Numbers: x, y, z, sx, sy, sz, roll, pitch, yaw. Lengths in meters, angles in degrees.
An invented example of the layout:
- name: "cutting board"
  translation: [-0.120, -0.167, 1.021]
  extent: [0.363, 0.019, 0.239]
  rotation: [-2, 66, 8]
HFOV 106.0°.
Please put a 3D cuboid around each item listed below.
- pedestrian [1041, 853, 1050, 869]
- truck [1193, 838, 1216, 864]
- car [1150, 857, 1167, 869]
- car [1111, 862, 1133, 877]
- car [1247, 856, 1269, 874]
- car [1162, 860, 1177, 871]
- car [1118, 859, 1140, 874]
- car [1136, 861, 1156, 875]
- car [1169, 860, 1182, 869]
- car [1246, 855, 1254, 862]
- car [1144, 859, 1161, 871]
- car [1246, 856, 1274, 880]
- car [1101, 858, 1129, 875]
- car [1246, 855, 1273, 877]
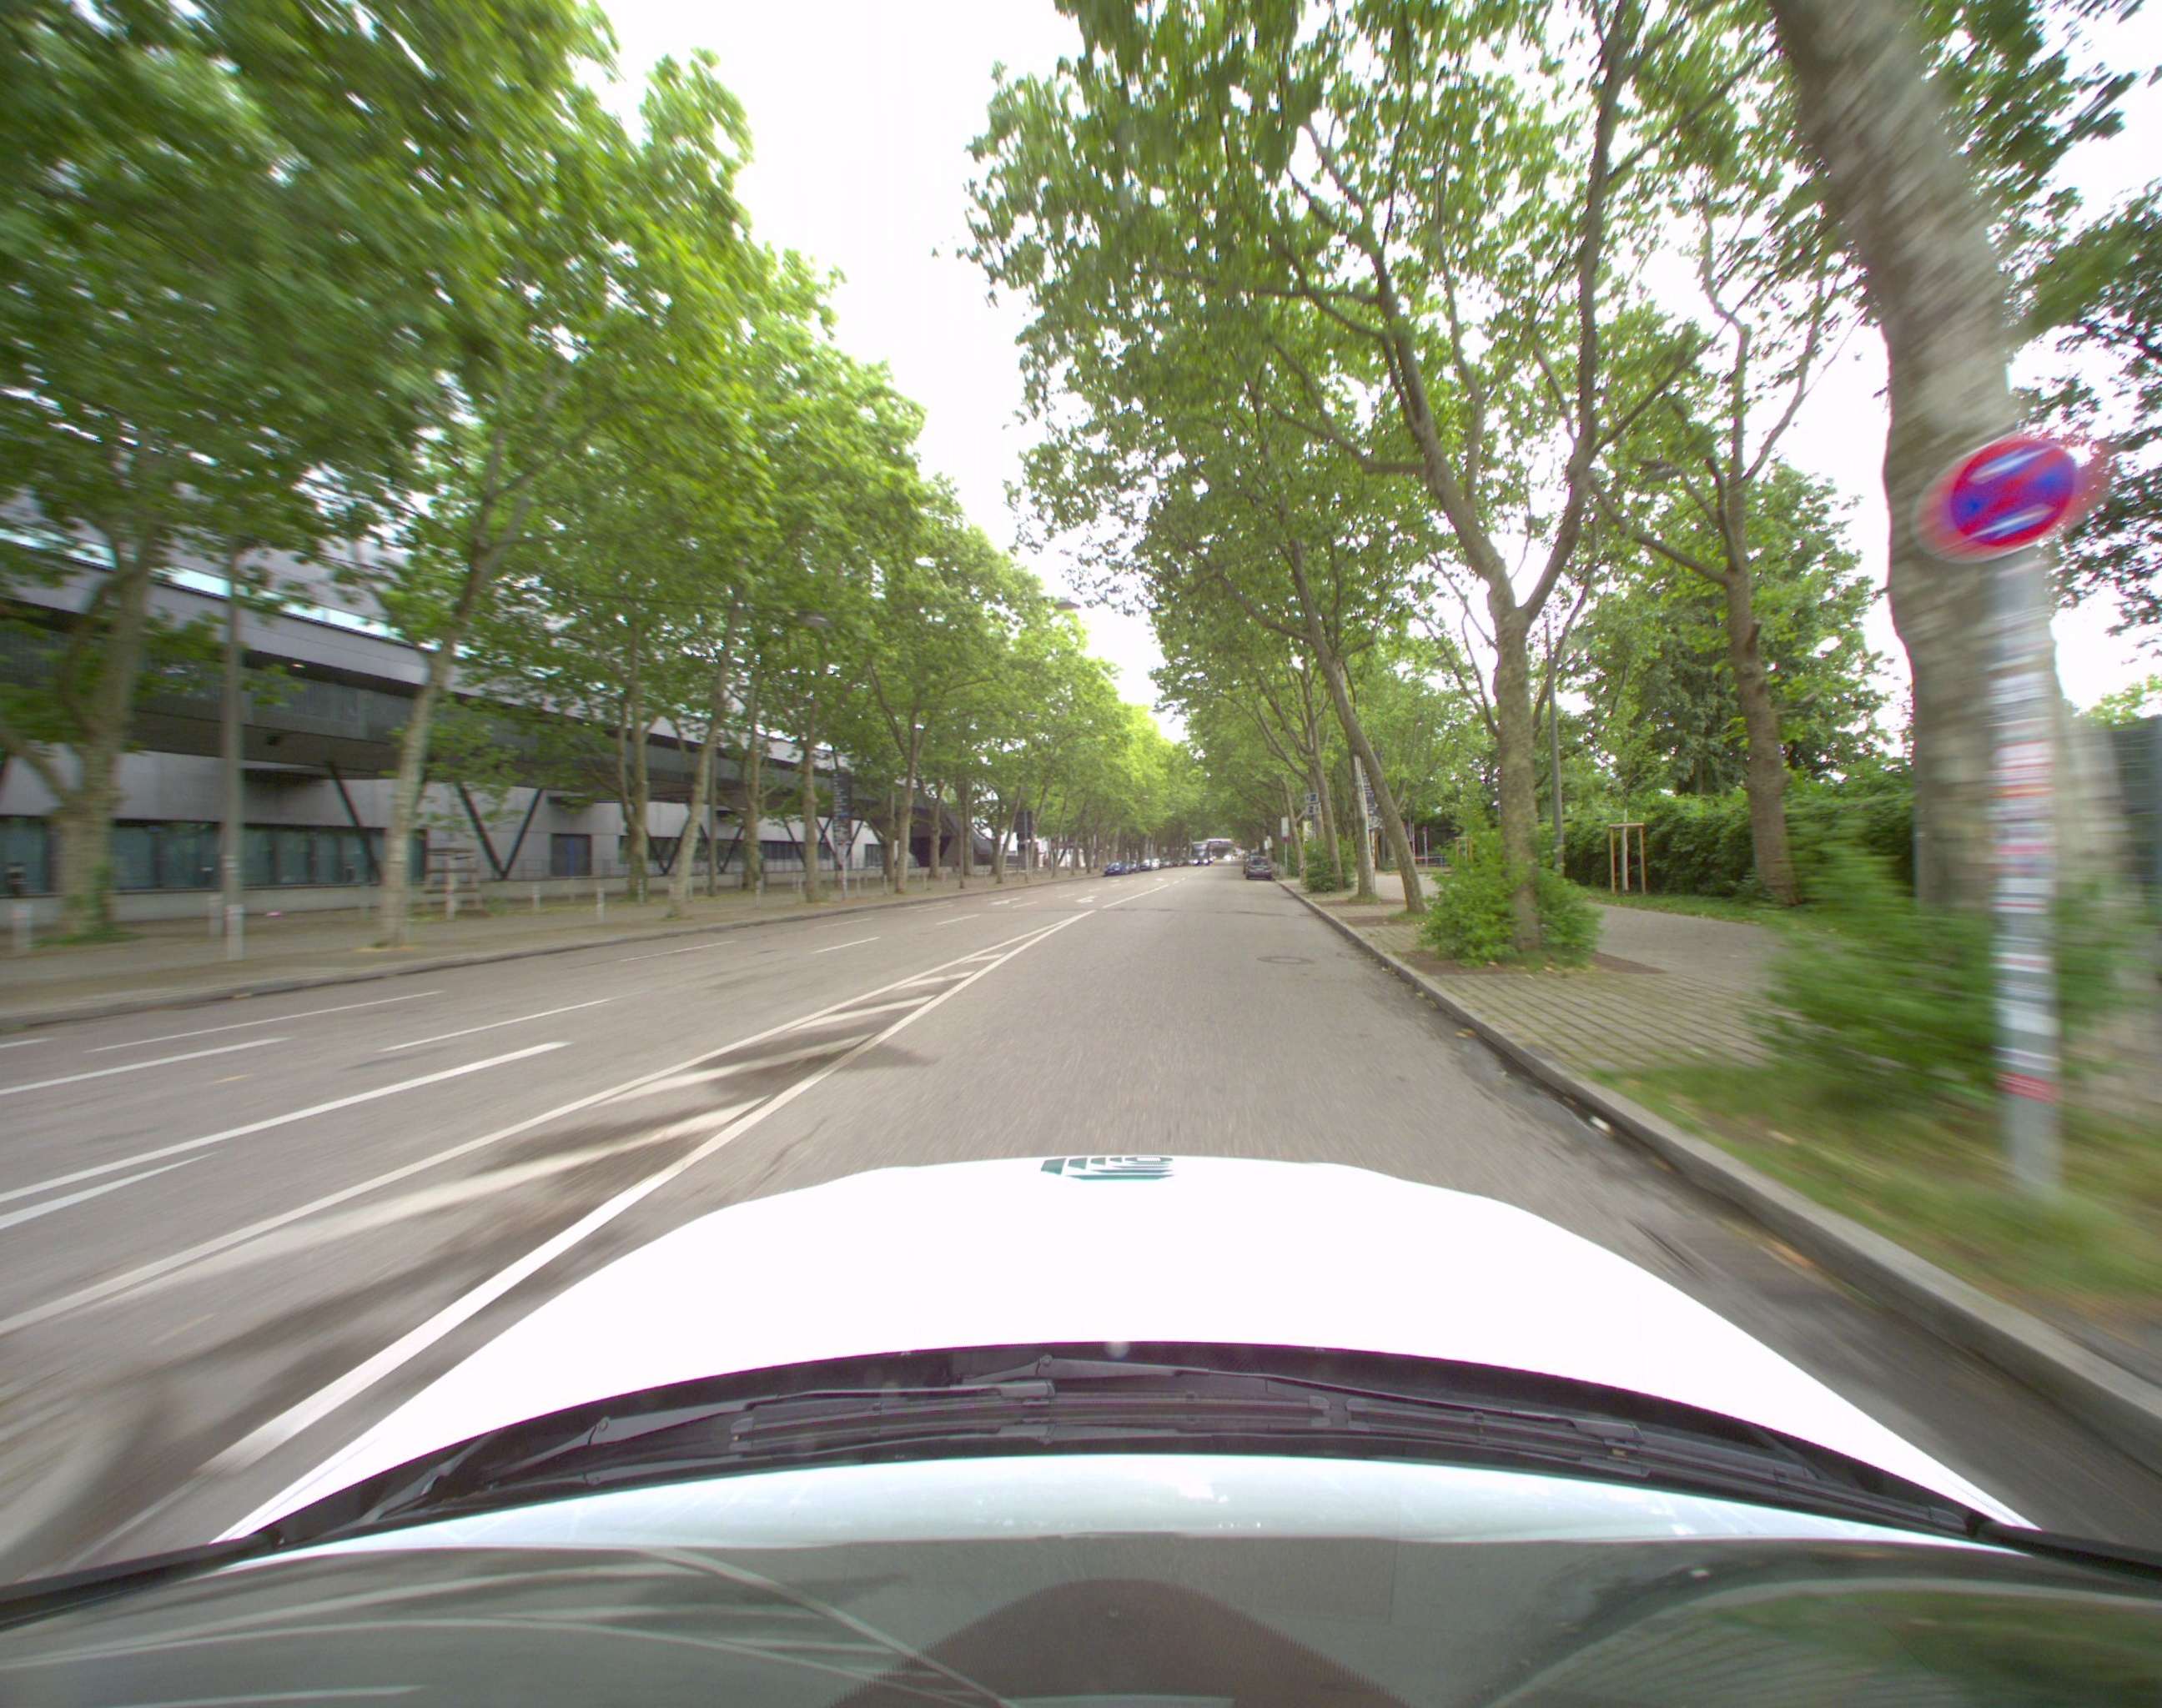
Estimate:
- name: "pedestrian"
  translation: [-4.078, 0.809, 93.875]
  extent: [0.773, 1.835, 0.872]
  rotation: [-1, -1, -23]
- name: "truck"
  translation: [20.349, -0.448, 133.779]
  extent: [2.622, 3.902, 9.575]
  rotation: [-2, -1, 13]
- name: "car"
  translation: [10.284, 1.253, 108.396]
  extent: [1.883, 1.438, 4.010]
  rotation: [-2, -2, 10]
- name: "car"
  translation: [4.120, 1.574, 81.328]
  extent: [1.756, 1.419, 3.769]
  rotation: [-4, -2, 8]
- name: "car"
  translation: [15.419, 0.947, 71.231]
  extent: [1.745, 1.490, 4.430]
  rotation: [3, 0, 11]
- name: "car"
  translation: [13.354, 1.771, 122.463]
  extent: [1.883, 1.438, 4.010]
  rotation: [-2, -2, 10]
- name: "car"
  translation: [5.080, 1.371, 86.114]
  extent: [1.754, 1.419, 3.772]
  rotation: [-4, -2, 11]
- name: "car"
  translation: [7.681, 1.647, 95.920]
  extent: [1.754, 1.419, 3.772]
  rotation: [-4, -2, 11]
- name: "car"
  translation: [15.611, 1.730, 134.502]
  extent: [1.883, 1.438, 4.010]
  rotation: [-2, -2, 10]
- name: "car"
  translation: [38.216, 1.052, 184.088]
  extent: [1.745, 1.534, 3.941]
  rotation: [1, 0, 11]
- name: "car"
  translation: [9.080, 1.383, 102.788]
  extent: [1.721, 1.332, 4.011]
  rotation: [-2, -2, 11]
- name: "car"
  translation: [12.400, 0.910, 56.570]
  extent: [1.688, 1.519, 4.467]
  rotation: [3, 1, 11]
- name: "car"
  translation: [3.245, 1.203, 76.496]
  extent: [1.682, 1.419, 3.776]
  rotation: [-4, -2, 15]
- name: "car"
  translation: [13.534, 0.873, 61.894]
  extent: [1.709, 1.567, 4.104]
  rotation: [3, 0, 9]
